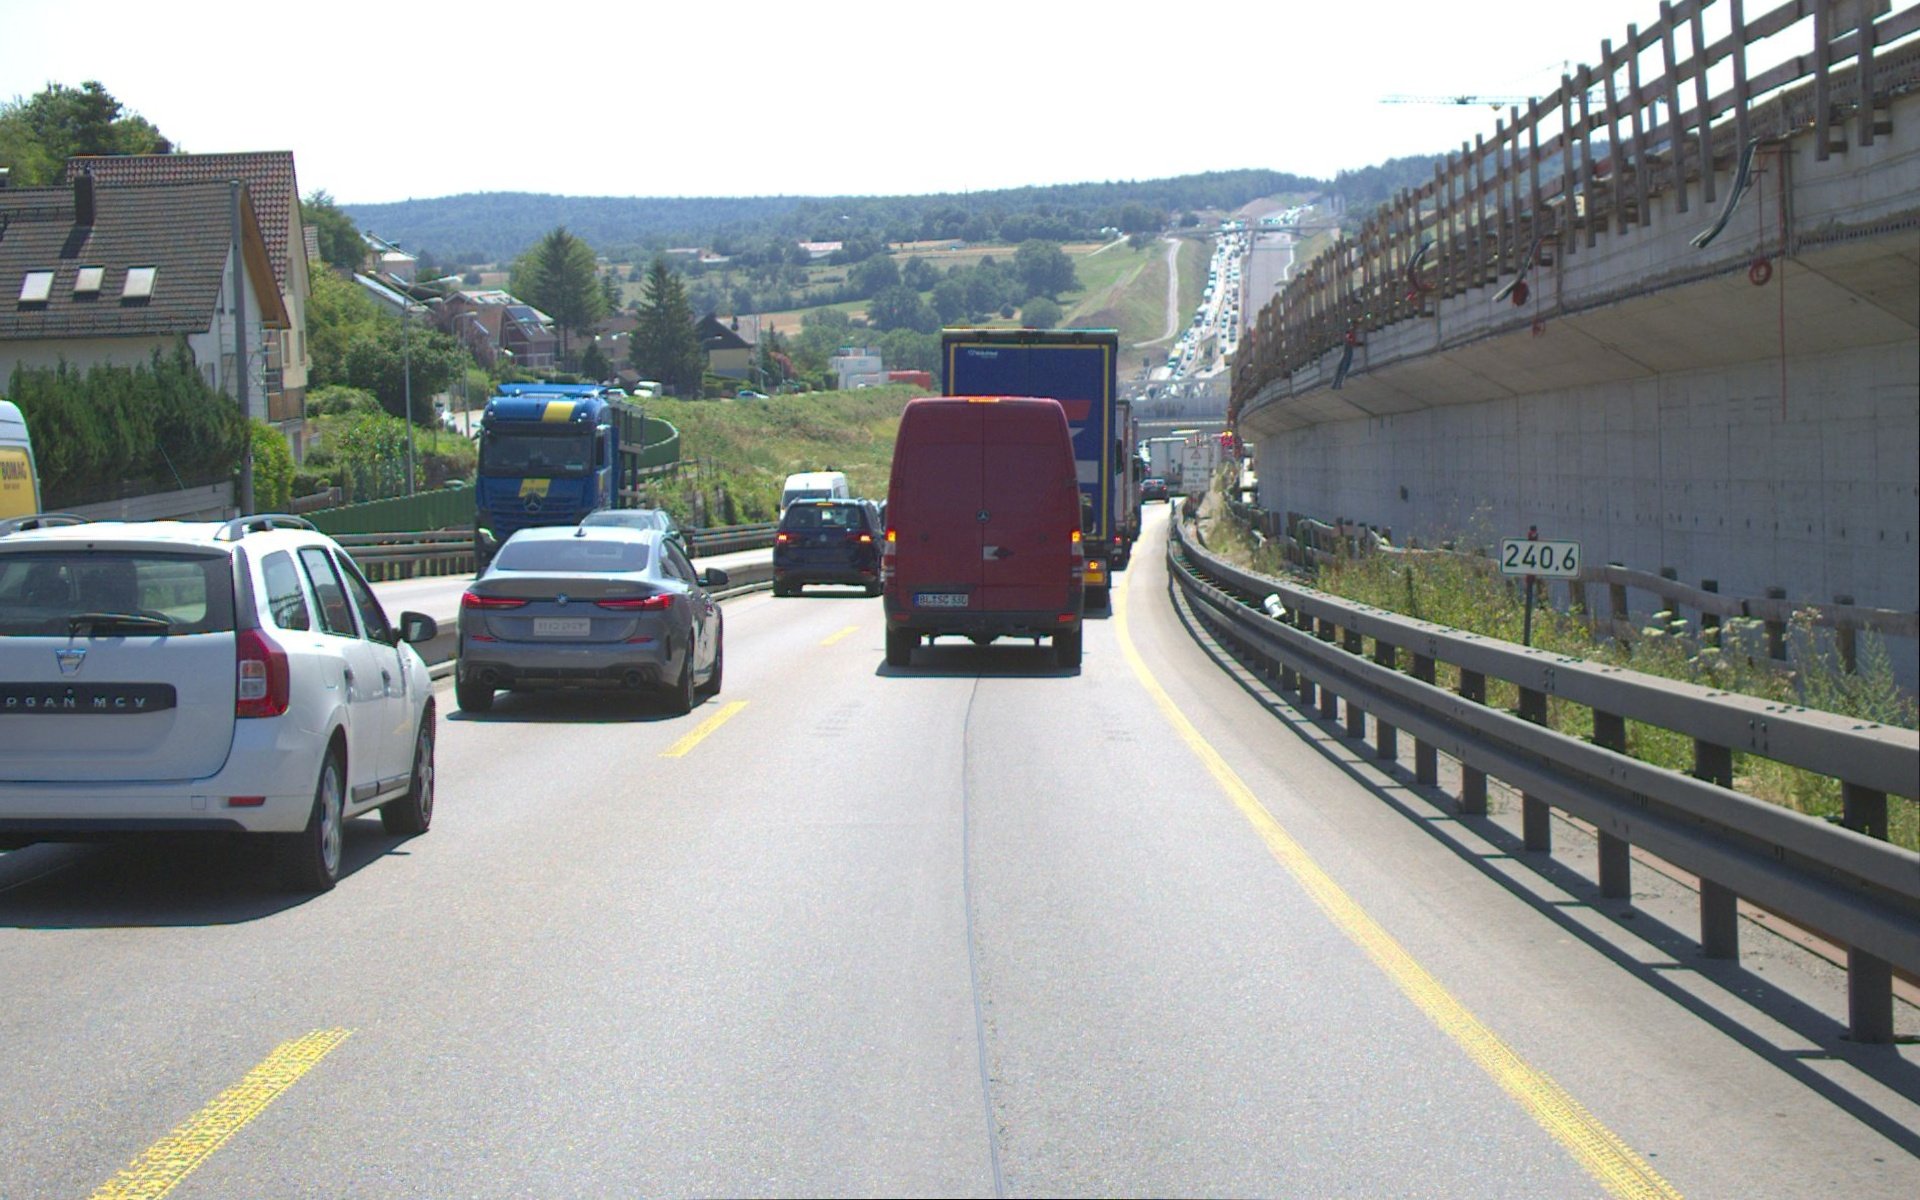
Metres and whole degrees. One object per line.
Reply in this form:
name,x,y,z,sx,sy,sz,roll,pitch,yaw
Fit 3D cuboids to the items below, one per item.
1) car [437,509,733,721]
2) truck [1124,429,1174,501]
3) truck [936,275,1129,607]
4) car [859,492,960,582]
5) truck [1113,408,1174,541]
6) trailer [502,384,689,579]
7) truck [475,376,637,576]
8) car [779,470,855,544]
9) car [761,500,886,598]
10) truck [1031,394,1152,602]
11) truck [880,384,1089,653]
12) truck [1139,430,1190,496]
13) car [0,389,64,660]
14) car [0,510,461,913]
car,-2.893,0.101,27.309,1.795,1.480,4.049,3,0,1
truck,12.356,-8.728,223.727,3.069,4.366,8.555,0,0,4
truck,1.166,-2.303,54.615,2.786,4.799,9.684,0,0,1
car,-1.024,-1.301,71.999,1.729,1.832,3.999,0,1,5
truck,6.229,-4.206,116.353,1.994,4.366,3.999,0,0,4
trailer,-8.017,-2.486,77.095,2.509,3.951,11.397,0,0,2
truck,-8.265,-2.478,70.825,2.509,3.951,5.175,0,0,2
car,-5.066,-3.268,122.327,1.994,2.498,5.514,0,0,5
car,-2.280,-0.845,58.397,1.810,1.602,3.719,0,0,3
truck,3.155,-2.358,84.233,2.786,4.799,9.684,0,0,1
truck,0.244,-0.781,34.779,1.993,2.570,4.000,0,0,0
truck,14.611,-9.729,245.099,3.468,4.366,8.555,0,0,4
car,-10.228,-0.702,32.134,2.005,2.594,5.979,0,1,1
car,-3.343,0.412,15.136,1.651,1.478,4.267,-2,1,0
